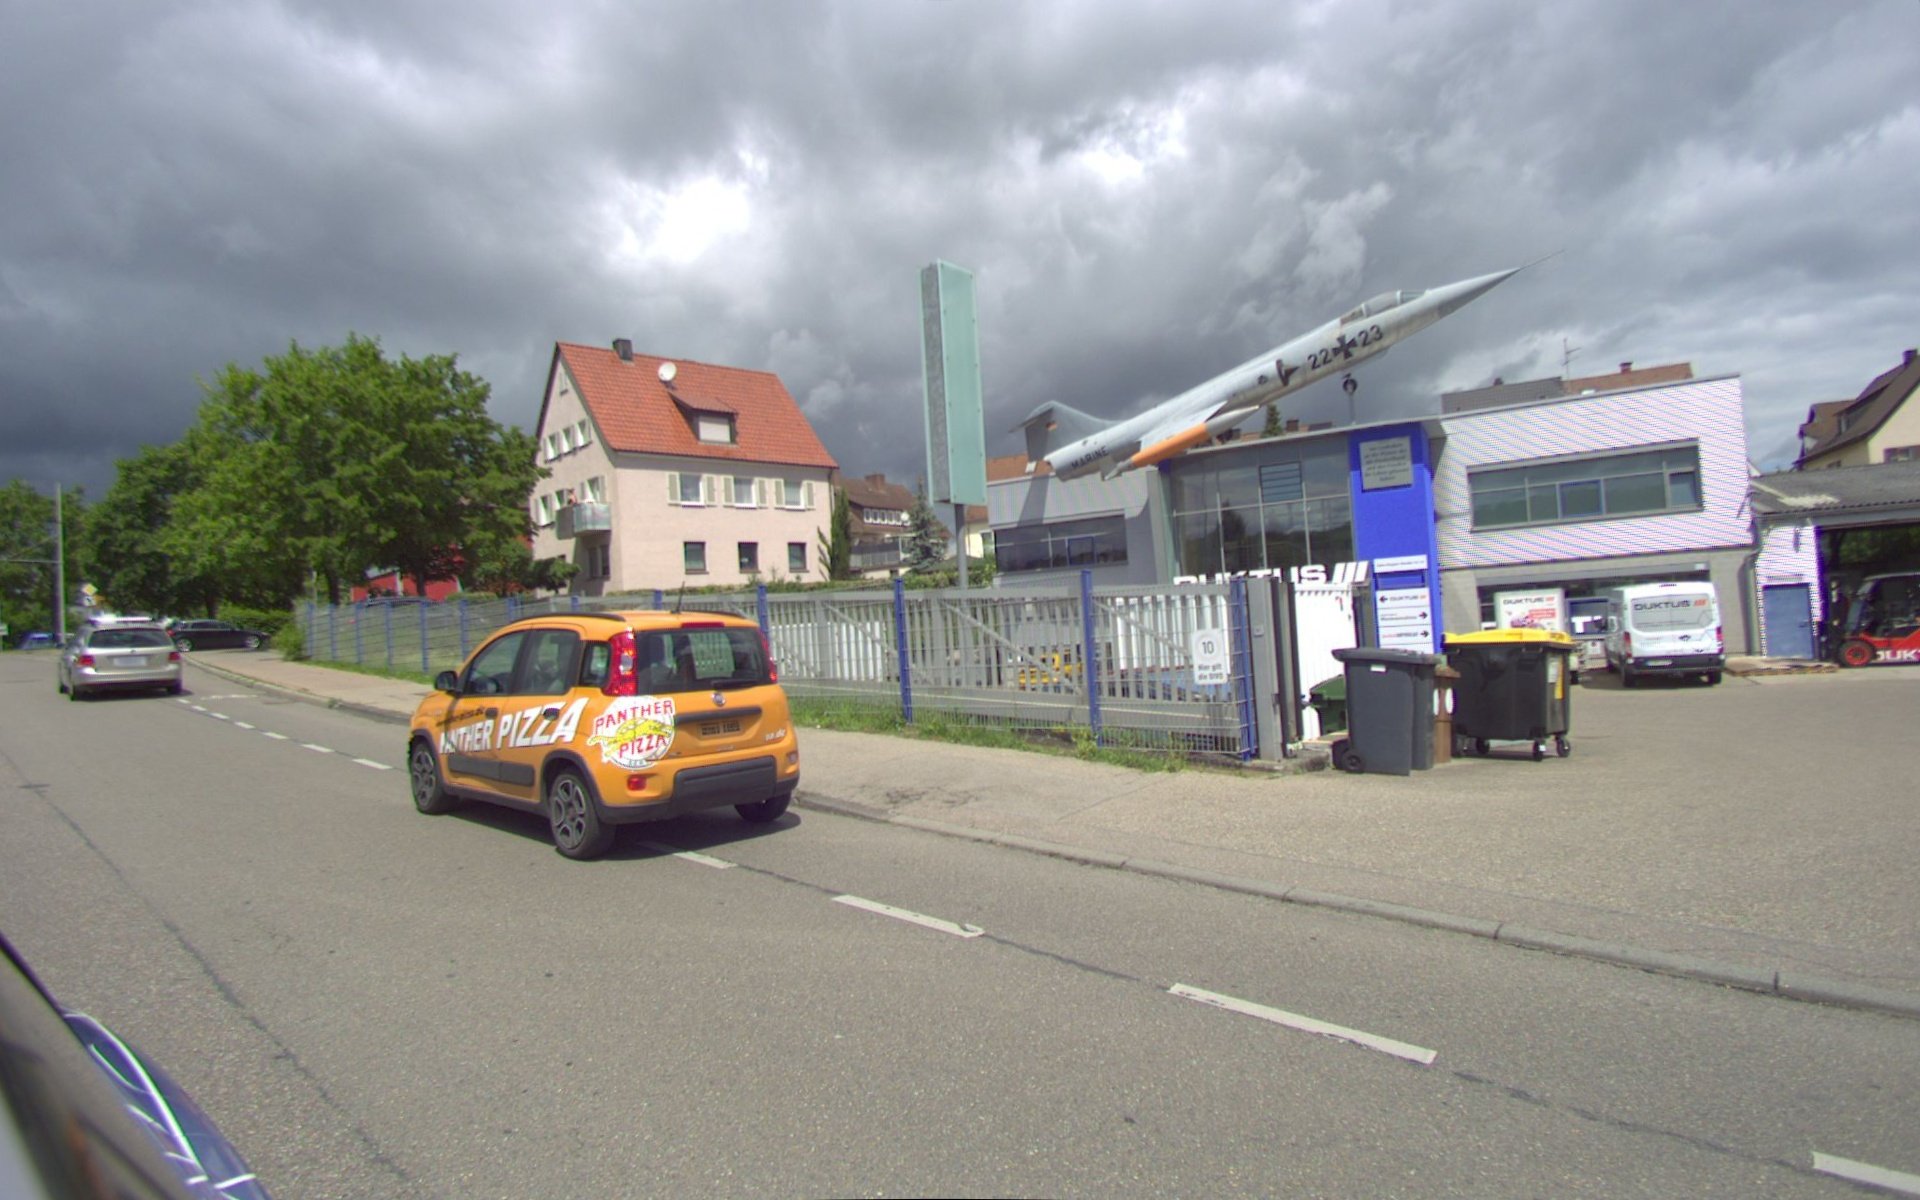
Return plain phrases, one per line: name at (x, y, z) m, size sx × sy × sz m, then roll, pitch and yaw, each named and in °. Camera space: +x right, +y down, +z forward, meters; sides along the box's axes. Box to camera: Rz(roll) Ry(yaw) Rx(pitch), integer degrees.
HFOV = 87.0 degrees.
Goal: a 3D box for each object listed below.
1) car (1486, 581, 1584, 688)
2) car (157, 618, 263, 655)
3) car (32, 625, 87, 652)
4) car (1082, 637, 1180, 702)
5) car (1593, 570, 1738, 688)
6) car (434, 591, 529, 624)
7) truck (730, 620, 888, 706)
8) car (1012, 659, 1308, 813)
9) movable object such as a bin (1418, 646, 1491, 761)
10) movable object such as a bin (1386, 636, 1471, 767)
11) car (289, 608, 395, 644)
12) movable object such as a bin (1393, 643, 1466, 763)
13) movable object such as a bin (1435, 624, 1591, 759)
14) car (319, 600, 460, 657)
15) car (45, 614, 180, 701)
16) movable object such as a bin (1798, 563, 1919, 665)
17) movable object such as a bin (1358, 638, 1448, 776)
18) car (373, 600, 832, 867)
car at (16.086, 0.885, 28.265) m, size 1.985 × 2.620 × 4.682 m, roll -6°, pitch -2°, yaw 31°
car at (-34.967, 1.668, 47.239) m, size 3.801 × 1.517 × 1.588 m, roll -1°, pitch 0°, yaw -43°
car at (-73.952, 3.111, 83.193) m, size 1.928 × 1.984 × 5.148 m, roll -1°, pitch 0°, yaw -24°
car at (5.948, 2.335, 34.736) m, size 1.850 × 1.790 × 4.578 m, roll -6°, pitch -2°, yaw 28°
car at (17.859, 0.680, 25.879) m, size 1.981 × 2.620 × 4.584 m, roll -6°, pitch -2°, yaw 24°
car at (-23.679, 0.366, 50.127) m, size 3.960 × 1.517 × 1.588 m, roll -1°, pitch 0°, yaw -43°
truck at (-5.549, 2.127, 36.313) m, size 2.289 × 2.752 × 6.600 m, roll -1°, pitch 0°, yaw -43°
car at (2.368, 1.551, 12.508) m, size 1.414 × 1.470 × 3.364 m, roll -1°, pitch 0°, yaw -45°
movable object such as a bin at (4.750, 0.978, 9.729) m, size 0.516 × 1.053 × 0.509 m, roll -2°, pitch -4°, yaw 41°
movable object such as a bin at (4.121, 0.870, 8.890) m, size 0.516 × 1.089 × 0.655 m, roll -2°, pitch -4°, yaw 40°
car at (-28.063, 1.151, 46.027) m, size 1.586 × 1.517 × 3.804 m, roll -1°, pitch 0°, yaw 44°
movable object such as a bin at (4.364, 0.938, 9.399) m, size 0.497 × 1.068 × 0.496 m, roll -2°, pitch -4°, yaw 41°
movable object such as a bin at (5.850, 0.930, 10.699) m, size 1.231 × 1.316 × 1.208 m, roll -1°, pitch -4°, yaw 40°
car at (-19.430, 0.939, 34.588) m, size 1.522 × 1.789 × 3.904 m, roll -1°, pitch 0°, yaw 40°
car at (-17.257, 1.088, 20.536) m, size 4.222 × 1.544 × 1.624 m, roll -1°, pitch 0°, yaw 43°
movable object such as a bin at (22.938, 0.312, 24.969) m, size 3.133 × 2.368 × 1.420 m, roll -5°, pitch -2°, yaw 30°
movable object such as a bin at (3.705, 0.868, 8.455) m, size 0.516 × 1.089 × 0.655 m, roll -2°, pitch -4°, yaw 40°
car at (-2.777, 0.783, 7.503) m, size 3.679 × 1.502 × 1.585 m, roll -1°, pitch -1°, yaw 40°
